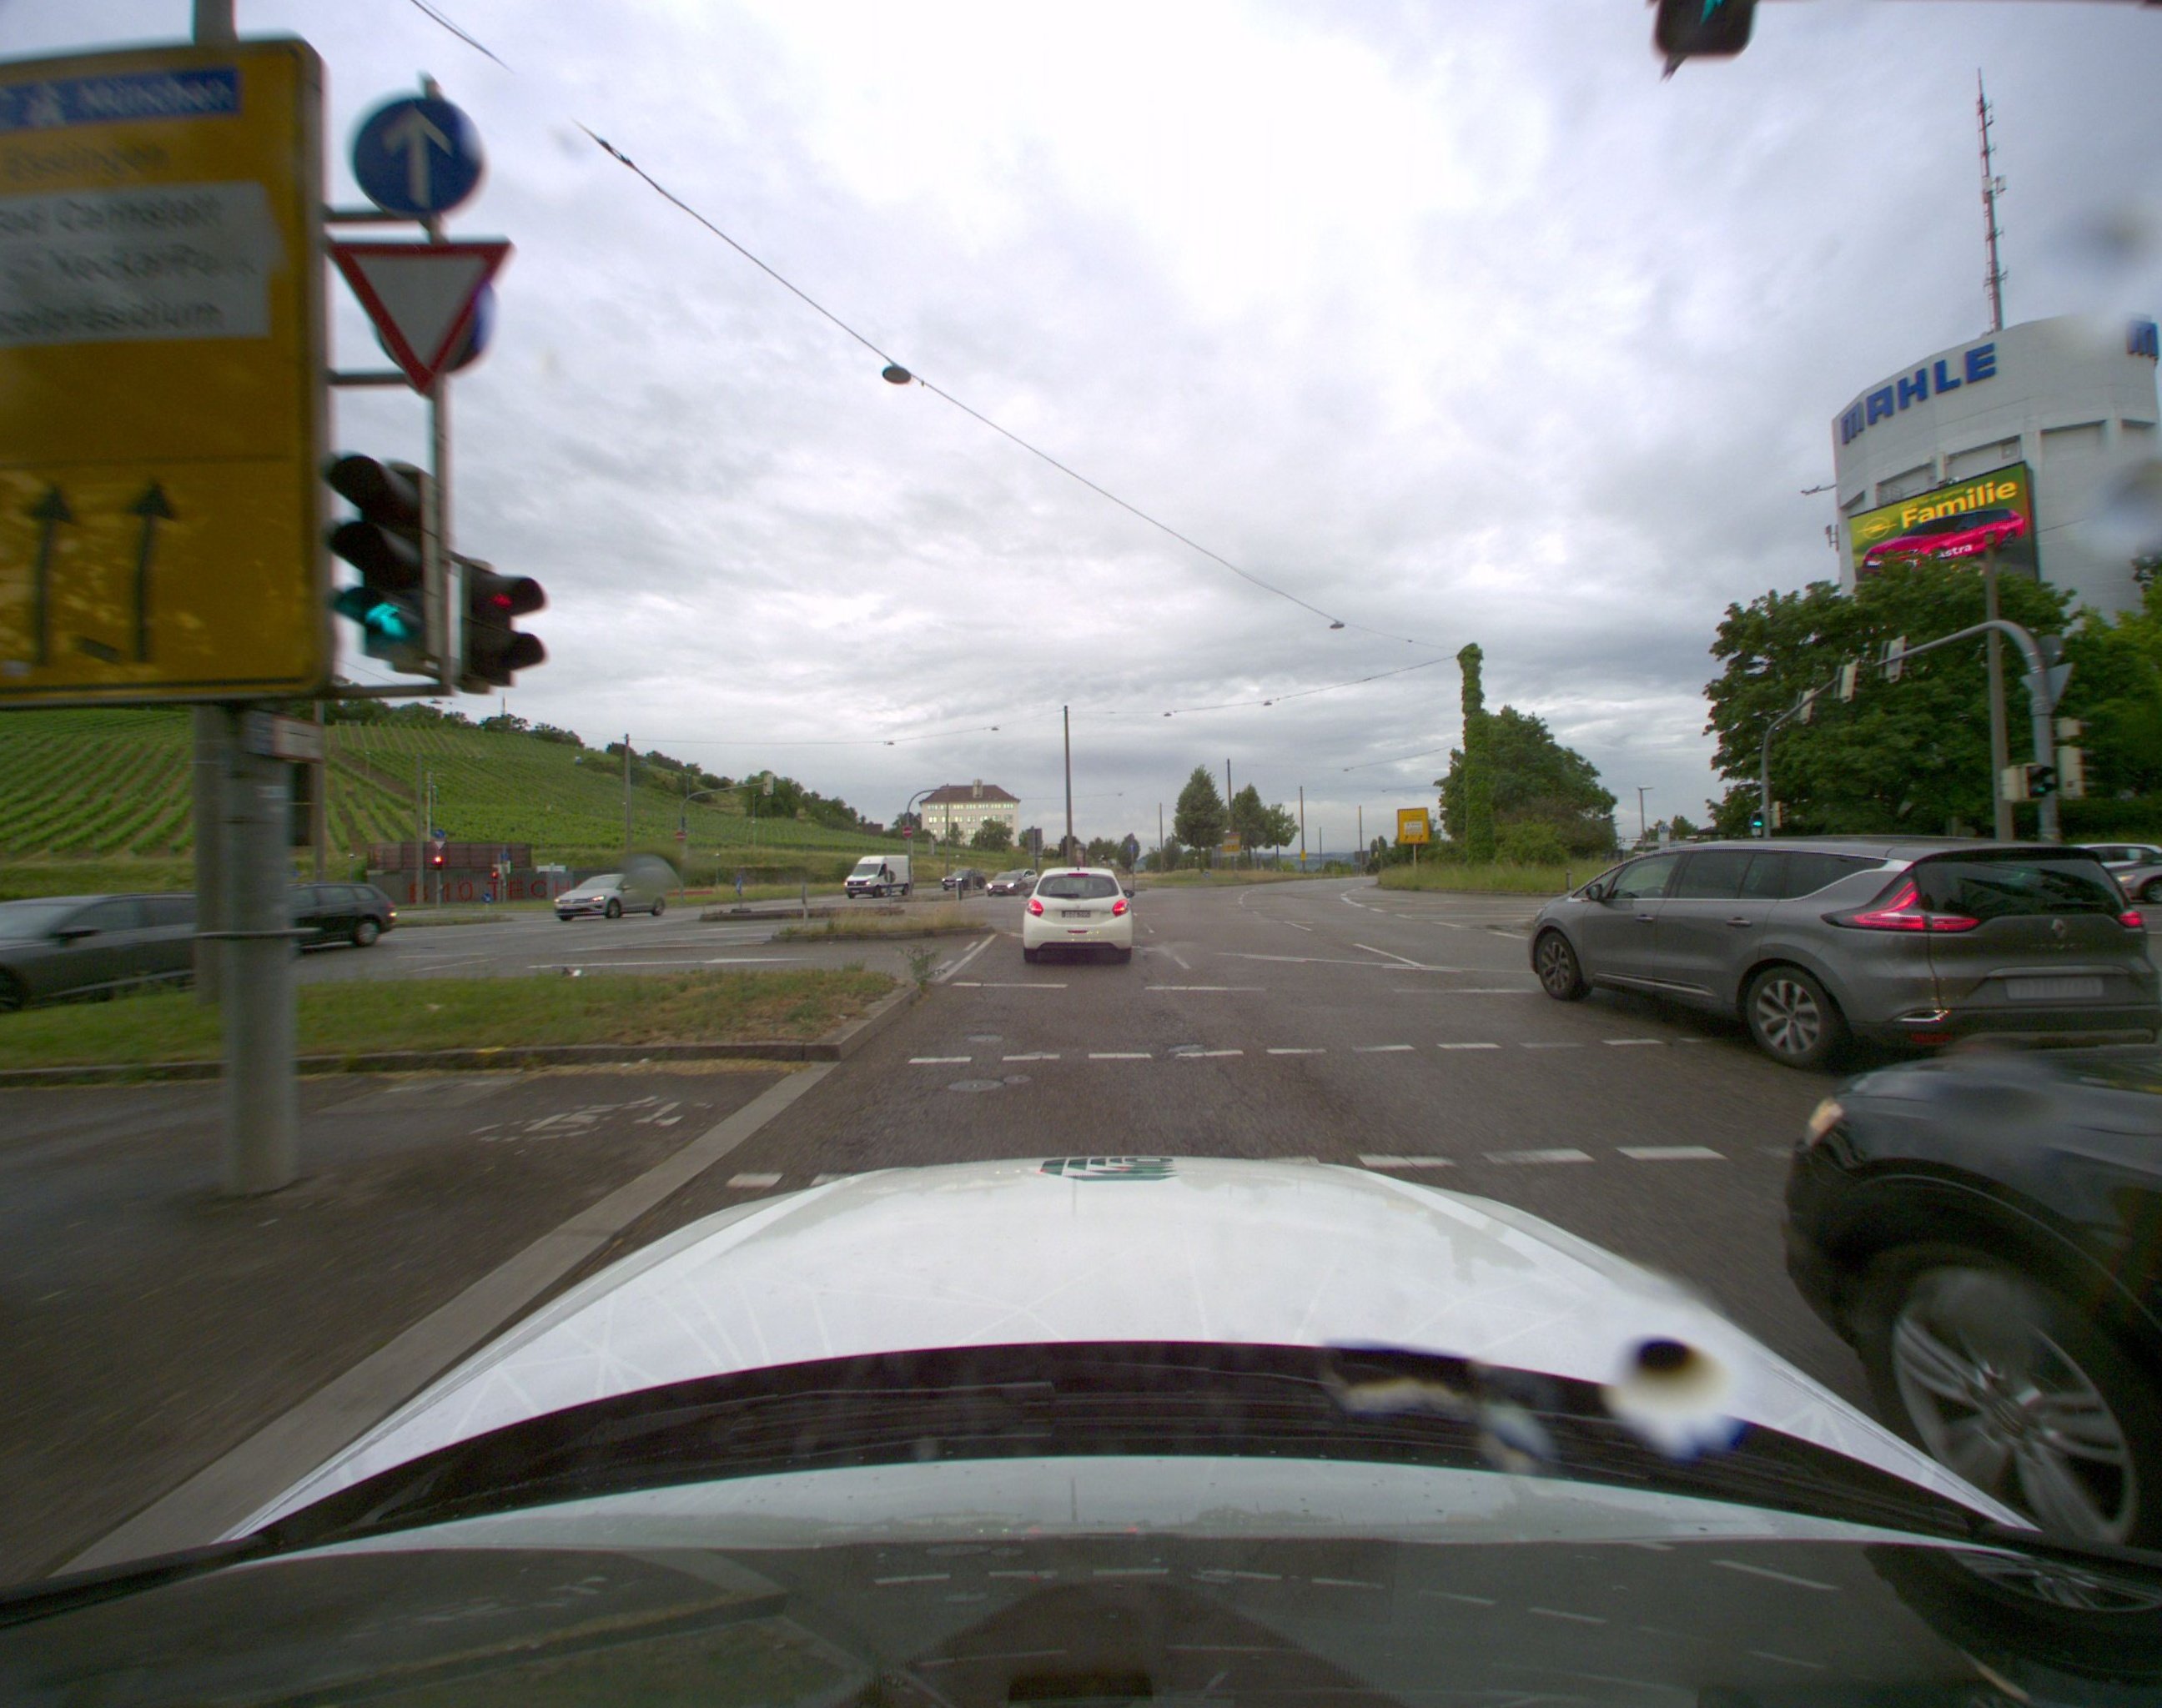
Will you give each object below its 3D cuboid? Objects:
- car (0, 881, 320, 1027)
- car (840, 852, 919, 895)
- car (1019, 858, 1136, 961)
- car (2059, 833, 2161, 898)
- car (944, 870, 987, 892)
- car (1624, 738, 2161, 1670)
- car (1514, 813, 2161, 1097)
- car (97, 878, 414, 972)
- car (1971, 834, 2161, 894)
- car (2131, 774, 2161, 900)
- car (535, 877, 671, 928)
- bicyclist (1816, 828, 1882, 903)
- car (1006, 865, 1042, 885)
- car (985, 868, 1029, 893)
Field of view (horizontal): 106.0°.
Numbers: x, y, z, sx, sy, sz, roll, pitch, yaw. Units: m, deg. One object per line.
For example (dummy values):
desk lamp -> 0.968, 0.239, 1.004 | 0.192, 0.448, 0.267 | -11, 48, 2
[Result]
car -> -12.908, 1.186, 10.391 | 1.896, 1.489, 4.887 | -1, 0, -2
car -> -12.751, 1.255, 52.017 | 1.978, 2.559, 6.196 | 0, -1, 17
car -> 0.002, 0.862, 14.004 | 1.711, 1.489, 4.001 | -1, -1, 1
car -> 26.836, 0.257, 19.291 | 4.327, 1.520, 1.739 | -1, -2, 25
car -> -8.931, 2.101, 63.364 | 1.763, 1.636, 4.525 | 0, -1, 14
car -> 2.780, 0.588, 0.735 | 1.878, 1.596, 4.113 | 0, -1, 1
car -> 5.927, 0.599, 7.143 | 1.859, 1.674, 4.565 | -1, 0, 1
car -> -16.451, 1.322, 16.687 | 1.820, 1.472, 4.664 | -2, 0, -2
car -> 27.899, 0.296, 22.451 | 4.094, 1.564, 1.881 | -1, -1, 22
car -> 26.138, -0.435, 16.241 | 5.953, 2.742, 2.094 | -1, -3, 28
car -> -16.204, 1.584, 27.906 | 1.985, 1.576, 4.198 | 0, -1, 3
bicyclist -> 16.770, 0.262, 17.805 | 0.801, 1.584, 1.029 | 0, -2, 29
car -> -4.502, 1.647, 65.060 | 1.738, 1.513, 4.014 | 0, -1, 14
car -> -4.487, 1.623, 49.996 | 1.766, 1.425, 4.382 | -2, -2, 7
